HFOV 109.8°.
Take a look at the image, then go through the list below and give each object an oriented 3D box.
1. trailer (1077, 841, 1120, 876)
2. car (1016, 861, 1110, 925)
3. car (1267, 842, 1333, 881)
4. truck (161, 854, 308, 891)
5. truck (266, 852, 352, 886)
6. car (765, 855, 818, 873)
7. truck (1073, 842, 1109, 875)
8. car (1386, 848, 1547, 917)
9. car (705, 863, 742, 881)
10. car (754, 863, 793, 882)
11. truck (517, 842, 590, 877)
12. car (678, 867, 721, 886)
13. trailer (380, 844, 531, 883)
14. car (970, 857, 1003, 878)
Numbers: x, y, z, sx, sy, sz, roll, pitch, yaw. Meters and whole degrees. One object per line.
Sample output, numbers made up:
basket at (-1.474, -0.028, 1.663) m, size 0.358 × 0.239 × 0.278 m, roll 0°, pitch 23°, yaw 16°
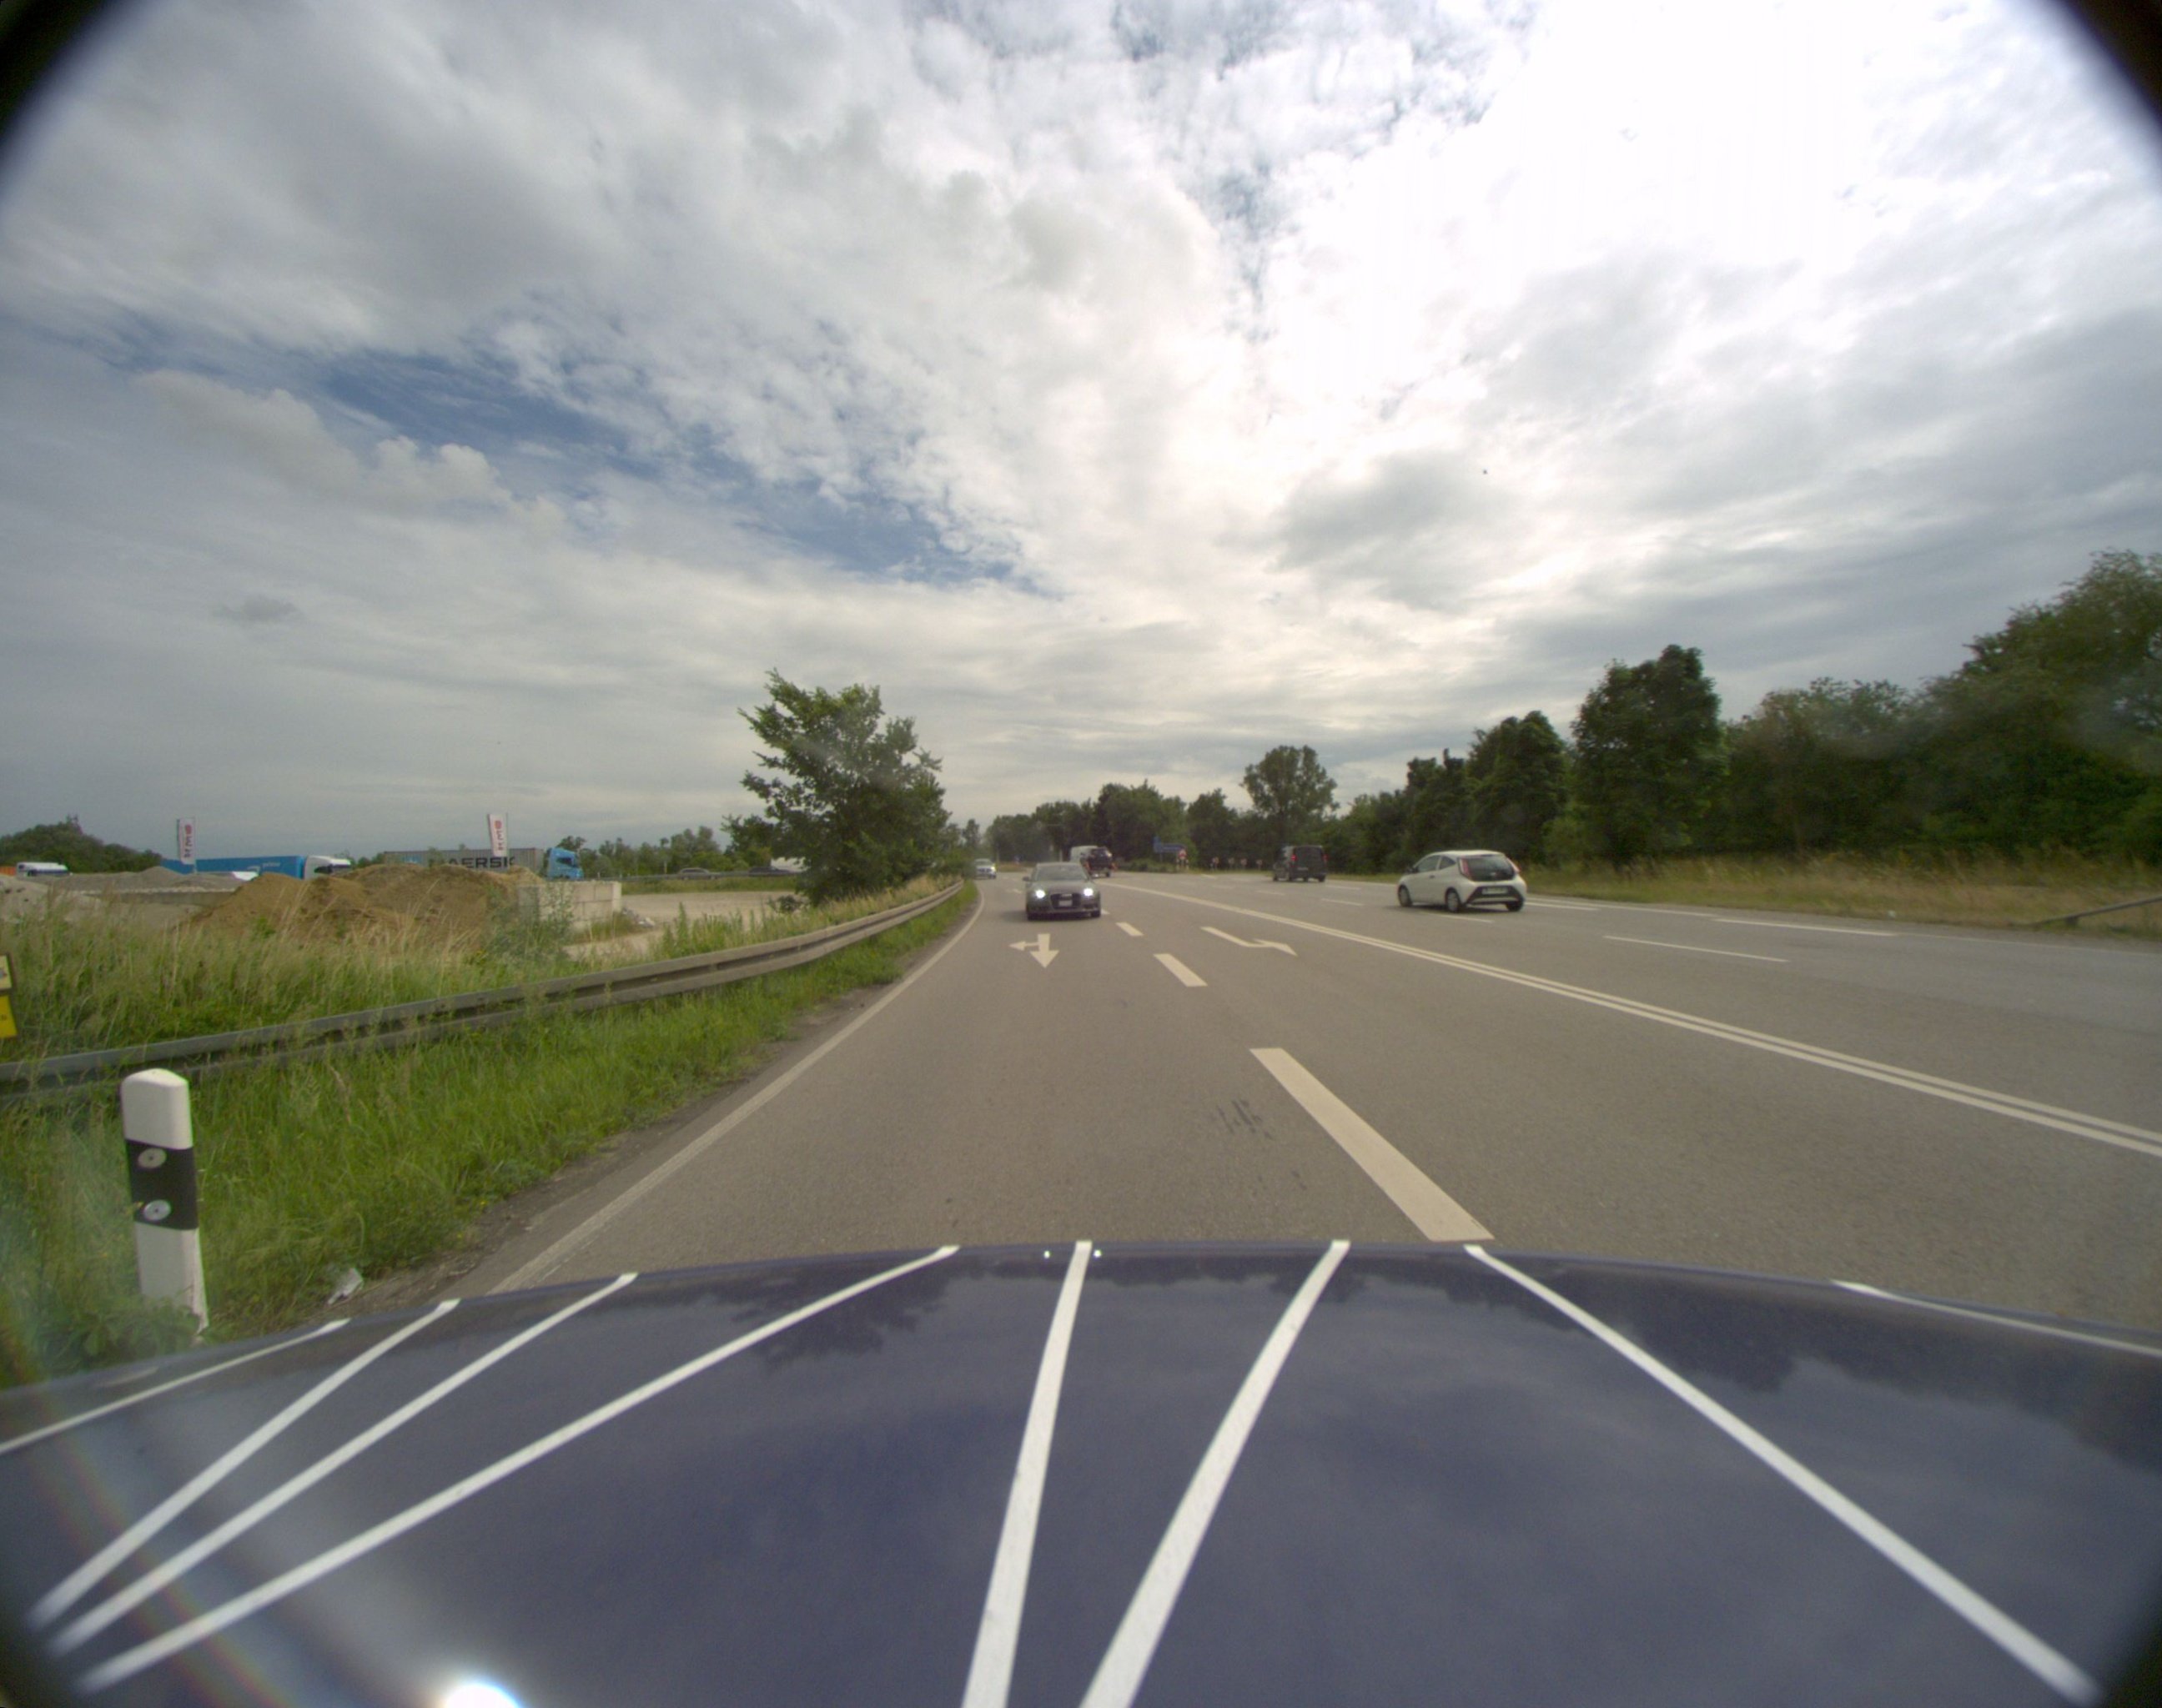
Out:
trailer at (1.236, 0.307, 58.001) m, size 2.030 × 2.430 × 6.961 m, roll -2°, pitch 0°, yaw -8°
car at (-0.605, 0.976, 20.629) m, size 1.959 × 1.527 × 3.997 m, roll -1°, pitch -1°, yaw -10°
car at (10.895, 0.374, 38.104) m, size 1.998 × 1.786 × 4.320 m, roll -2°, pitch 0°, yaw 0°
truck at (-83.363, 1.827, 74.900) m, size 11.749 × 3.036 × 2.392 m, roll -3°, pitch 0°, yaw 1°
truck at (-75.943, 1.448, 74.801) m, size 5.981 × 3.036 × 2.392 m, roll -3°, pitch 0°, yaw 1°
car at (-35.769, 1.218, 94.001) m, size 5.903 × 2.002 × 2.058 m, roll -2°, pitch 0°, yaw -21°
truck at (0.746, 0.363, 61.388) m, size 2.030 × 2.430 × 5.021 m, roll -2°, pitch 0°, yaw -8°
car at (9.357, 0.648, 18.806) m, size 1.882 × 1.480 × 3.742 m, roll -2°, pitch 0°, yaw -3°
car at (-44.612, 2.274, 94.858) m, size 4.004 × 2.002 × 1.928 m, roll -2°, pitch 0°, yaw -21°
car at (-34.868, 2.130, 86.187) m, size 4.004 × 2.001 × 1.928 m, roll -1°, pitch -1°, yaw -21°
truck at (-53.938, 0.571, 77.867) m, size 5.602 × 3.285 × 2.388 m, roll -3°, pitch 0°, yaw -22°
car at (-42.033, 2.479, 83.777) m, size 4.004 × 2.001 × 1.928 m, roll -1°, pitch -1°, yaw -21°
trailer at (-61.528, 0.911, 75.083) m, size 11.240 × 3.290 × 2.388 m, roll -3°, pitch 0°, yaw -19°
car at (-7.824, 1.101, 62.758) m, size 2.023 × 1.603 × 4.275 m, roll -2°, pitch 0°, yaw -15°
